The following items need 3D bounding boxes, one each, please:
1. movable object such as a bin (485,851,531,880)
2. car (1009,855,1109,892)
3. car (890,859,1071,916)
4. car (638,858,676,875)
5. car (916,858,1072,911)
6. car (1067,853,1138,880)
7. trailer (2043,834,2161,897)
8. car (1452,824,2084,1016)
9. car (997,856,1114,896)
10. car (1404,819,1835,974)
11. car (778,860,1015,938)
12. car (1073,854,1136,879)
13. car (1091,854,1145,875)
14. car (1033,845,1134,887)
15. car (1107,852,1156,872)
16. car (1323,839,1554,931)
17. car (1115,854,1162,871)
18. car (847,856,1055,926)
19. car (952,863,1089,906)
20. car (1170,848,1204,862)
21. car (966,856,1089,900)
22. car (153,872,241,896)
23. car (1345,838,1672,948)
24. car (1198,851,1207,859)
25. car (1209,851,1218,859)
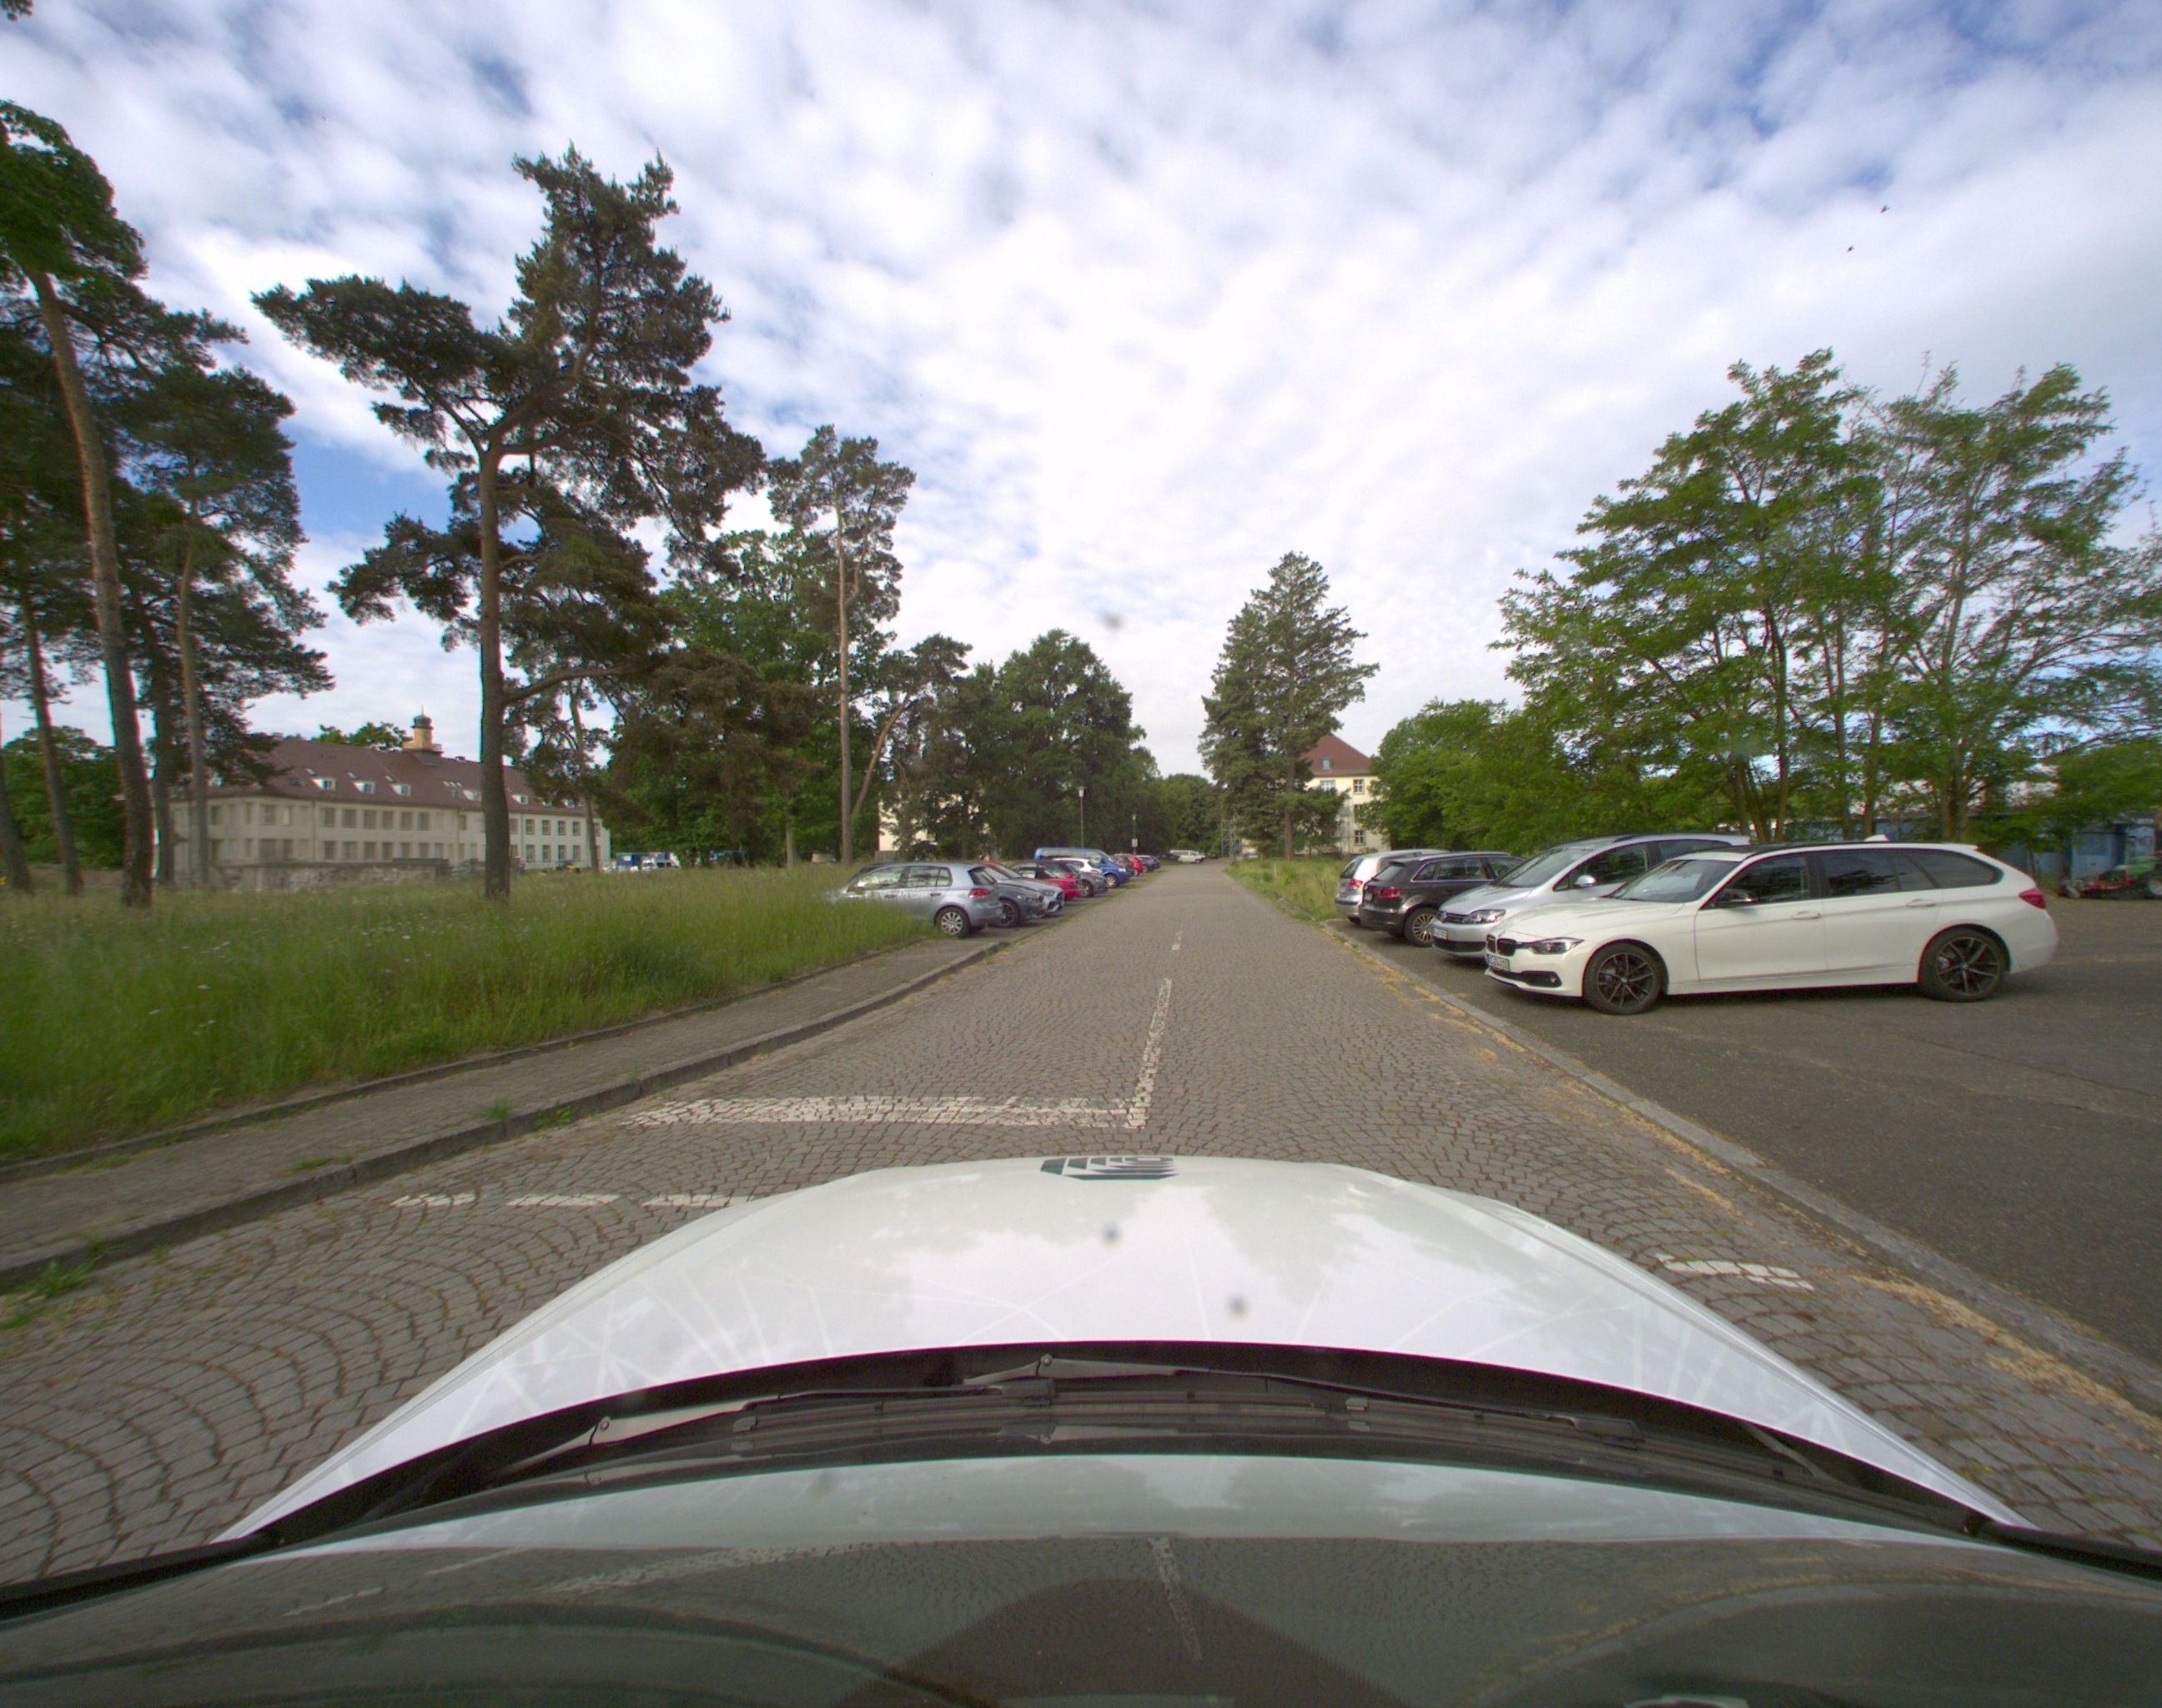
[{"bbox_3d":[-75.363,1.517,107.113,6.060,3.642,2.153,-2,-2,25],"label":"movable object such as a bin"},{"bbox_3d":[-0.901,0.837,34.871,3.981,1.501,1.848,-1,0,9],"label":"car"},{"bbox_3d":[-2.613,0.874,21.831,4.411,1.455,1.954,-1,-1,8],"label":"car"},{"bbox_3d":[-54.324,1.596,104.415,2.050,2.095,4.354,-2,-2,8],"label":"car"},{"bbox_3d":[-2.516,0.872,24.153,4.230,1.455,1.859,-1,0,8],"label":"car"},{"bbox_3d":[1.324,0.745,48.903,4.046,1.575,1.958,-1,0,7],"label":"car"},{"bbox_3d":[20.228,0.212,15.507,2.300,1.170,1.146,0,-1,6],"label":"trailer"},{"bbox_3d":[6.394,0.606,8.084,4.528,1.425,1.829,-4,-1,5],"label":"car"},{"bbox_3d":[-0.971,0.855,31.982,4.278,1.480,1.736,-1,0,9],"label":"car"},{"bbox_3d":[6.770,0.521,10.639,4.311,1.574,1.828,-4,-1,2],"label":"car"},{"bbox_3d":[-3.678,0.877,16.600,4.303,1.470,1.832,-1,-1,9],"label":"car"},{"bbox_3d":[1.517,0.769,51.695,3.794,1.486,1.765,-1,0,8],"label":"car"},{"bbox_3d":[2.719,0.747,59.147,3.795,1.489,1.791,-1,0,7],"label":"car"},{"bbox_3d":[0.179,0.577,40.086,4.684,1.980,2.042,-1,0,7],"label":"car"},{"bbox_3d":[4.344,0.649,69.295,4.050,1.604,1.791,-1,0,6],"label":"car"},{"bbox_3d":[6.911,0.565,16.069,3.754,1.479,1.745,-4,1,5],"label":"car"},{"bbox_3d":[5.215,0.742,73.928,4.045,1.467,1.631,-1,0,11],"label":"car"},{"bbox_3d":[-2.961,0.845,19.162,4.480,1.537,1.873,-1,-1,4],"label":"car"},{"bbox_3d":[-1.923,0.979,26.483,4.108,1.283,1.768,-1,0,8],"label":"car"},{"bbox_3d":[15.844,0.144,122.030,4.952,2.073,2.056,0,-2,6],"label":"car"},{"bbox_3d":[-1.887,0.834,29.189,4.064,1.480,1.760,-1,0,9],"label":"car"},{"bbox_3d":[-85.098,2.857,78.476,5.788,2.115,2.369,-1,-2,-1],"label":"car"},{"bbox_3d":[6.793,0.598,13.353,4.343,1.406,1.800,-4,1,6],"label":"car"},{"bbox_3d":[27.892,0.272,187.200,1.780,1.636,4.068,-1,-2,7],"label":"car"},{"bbox_3d":[30.523,0.175,187.174,1.780,1.720,4.068,-1,-2,7],"label":"car"}]
